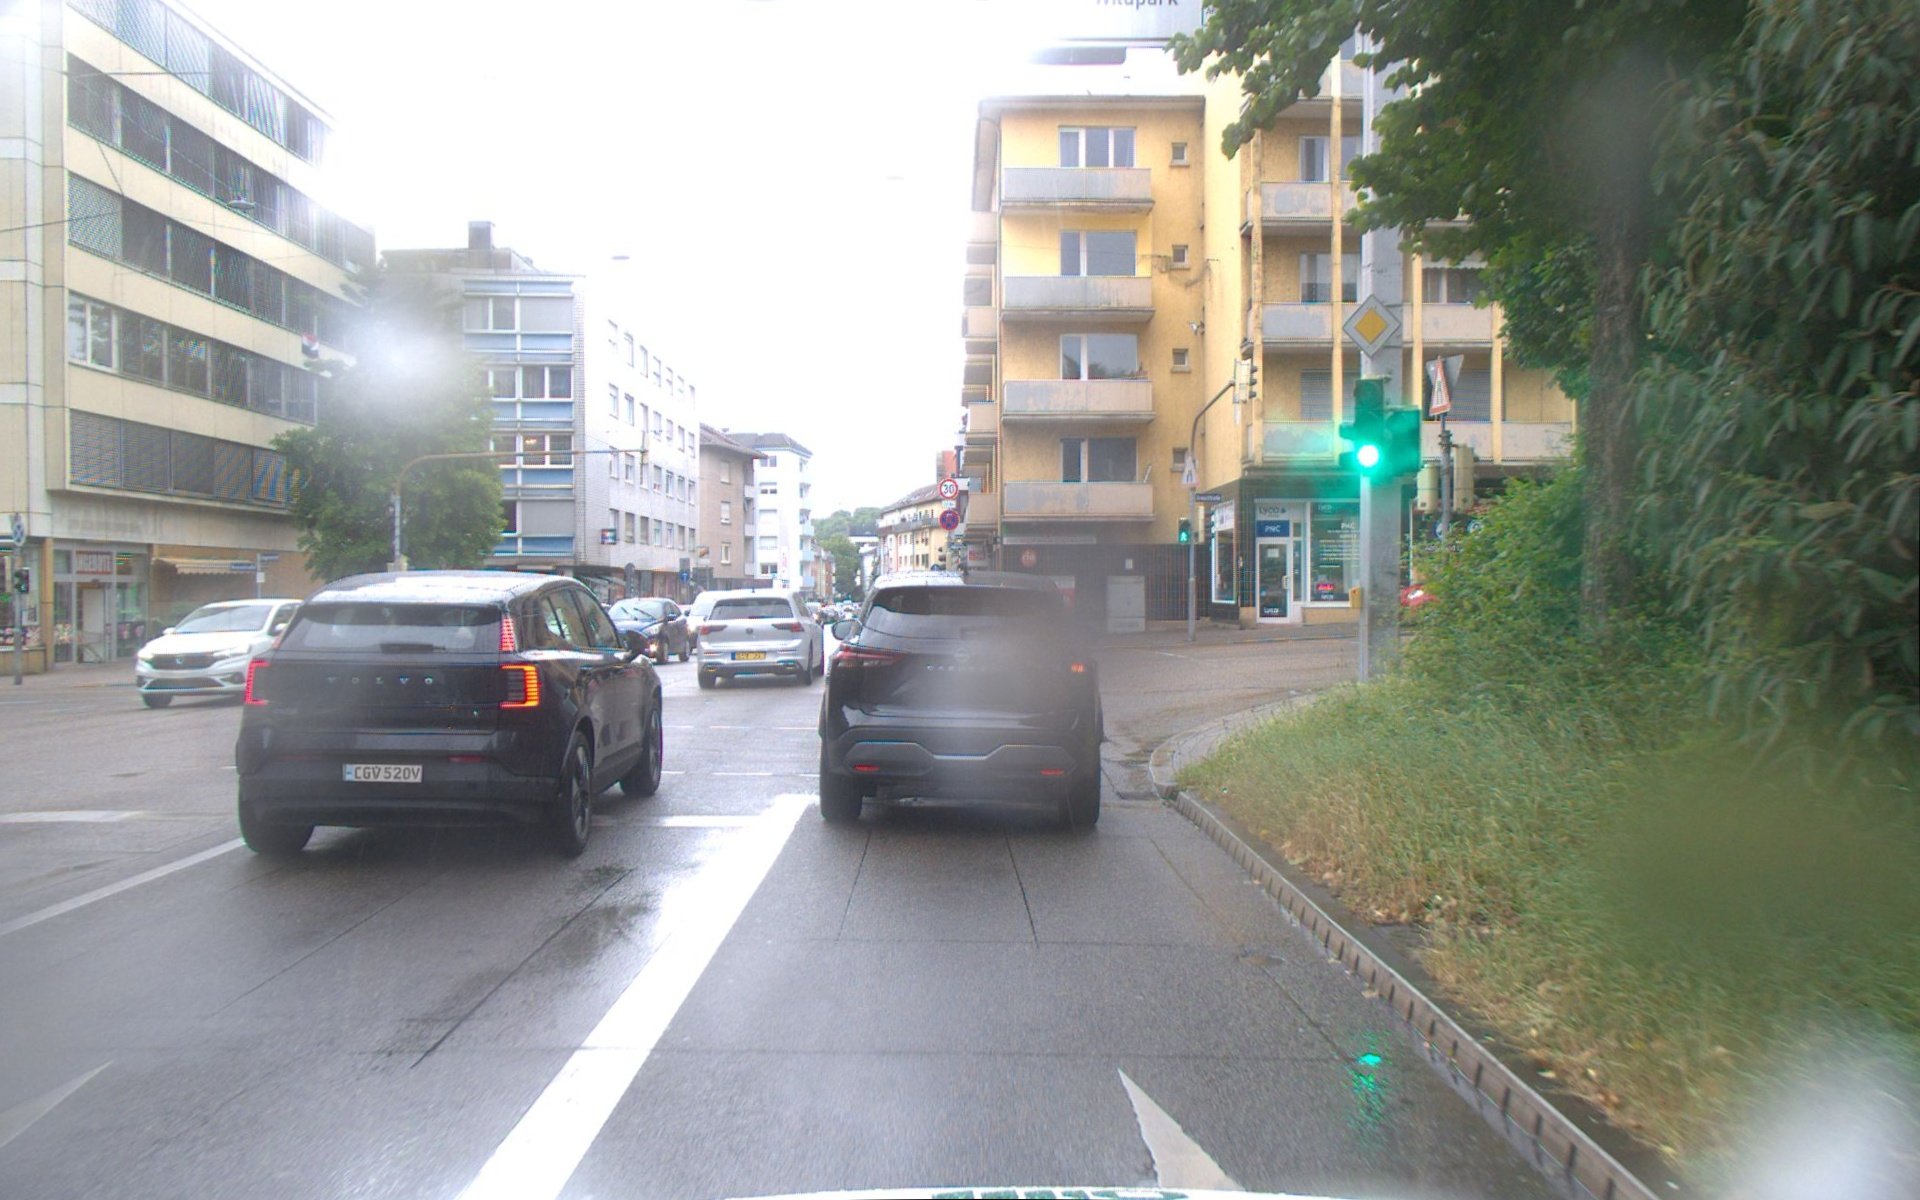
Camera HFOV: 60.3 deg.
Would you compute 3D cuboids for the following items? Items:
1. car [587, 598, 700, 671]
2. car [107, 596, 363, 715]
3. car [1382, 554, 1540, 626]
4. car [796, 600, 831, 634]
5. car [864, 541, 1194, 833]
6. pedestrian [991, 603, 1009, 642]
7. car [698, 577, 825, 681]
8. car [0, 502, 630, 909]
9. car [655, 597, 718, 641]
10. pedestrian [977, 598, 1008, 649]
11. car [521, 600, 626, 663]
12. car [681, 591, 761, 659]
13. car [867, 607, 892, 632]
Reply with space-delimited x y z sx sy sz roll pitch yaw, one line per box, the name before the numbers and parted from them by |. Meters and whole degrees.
car | -7.281 0.755 38.379 1.750 1.517 3.814 -2 0 1
car | -10.958 0.777 25.368 1.952 1.520 4.089 -4 1 2
car | 12.298 -0.268 40.688 3.402 1.584 1.472 -3 1 -3
car | -9.493 1.101 107.348 1.871 2.048 3.999 -3 0 -1
car | 0.341 0.511 11.785 1.920 1.681 3.998 1 0 -2
pedestrian | 1.337 0.750 54.955 0.454 1.254 0.554 -6 0 -1
car | -3.045 0.410 26.004 1.732 1.469 3.997 -1 0 -4
car | -2.704 0.362 7.899 1.580 1.445 3.965 0 0 -2
car | -9.739 0.656 59.188 1.769 1.434 4.388 -3 0 -4
pedestrian | 1.081 0.758 54.669 0.818 1.584 0.832 -6 0 -2
car | -10.392 0.821 44.695 1.743 1.504 3.794 -3 0 2
car | -6.959 0.705 48.535 1.744 1.847 4.404 -2 0 -2
car | -7.214 1.743 148.976 1.953 2.049 4.000 -2 0 0
